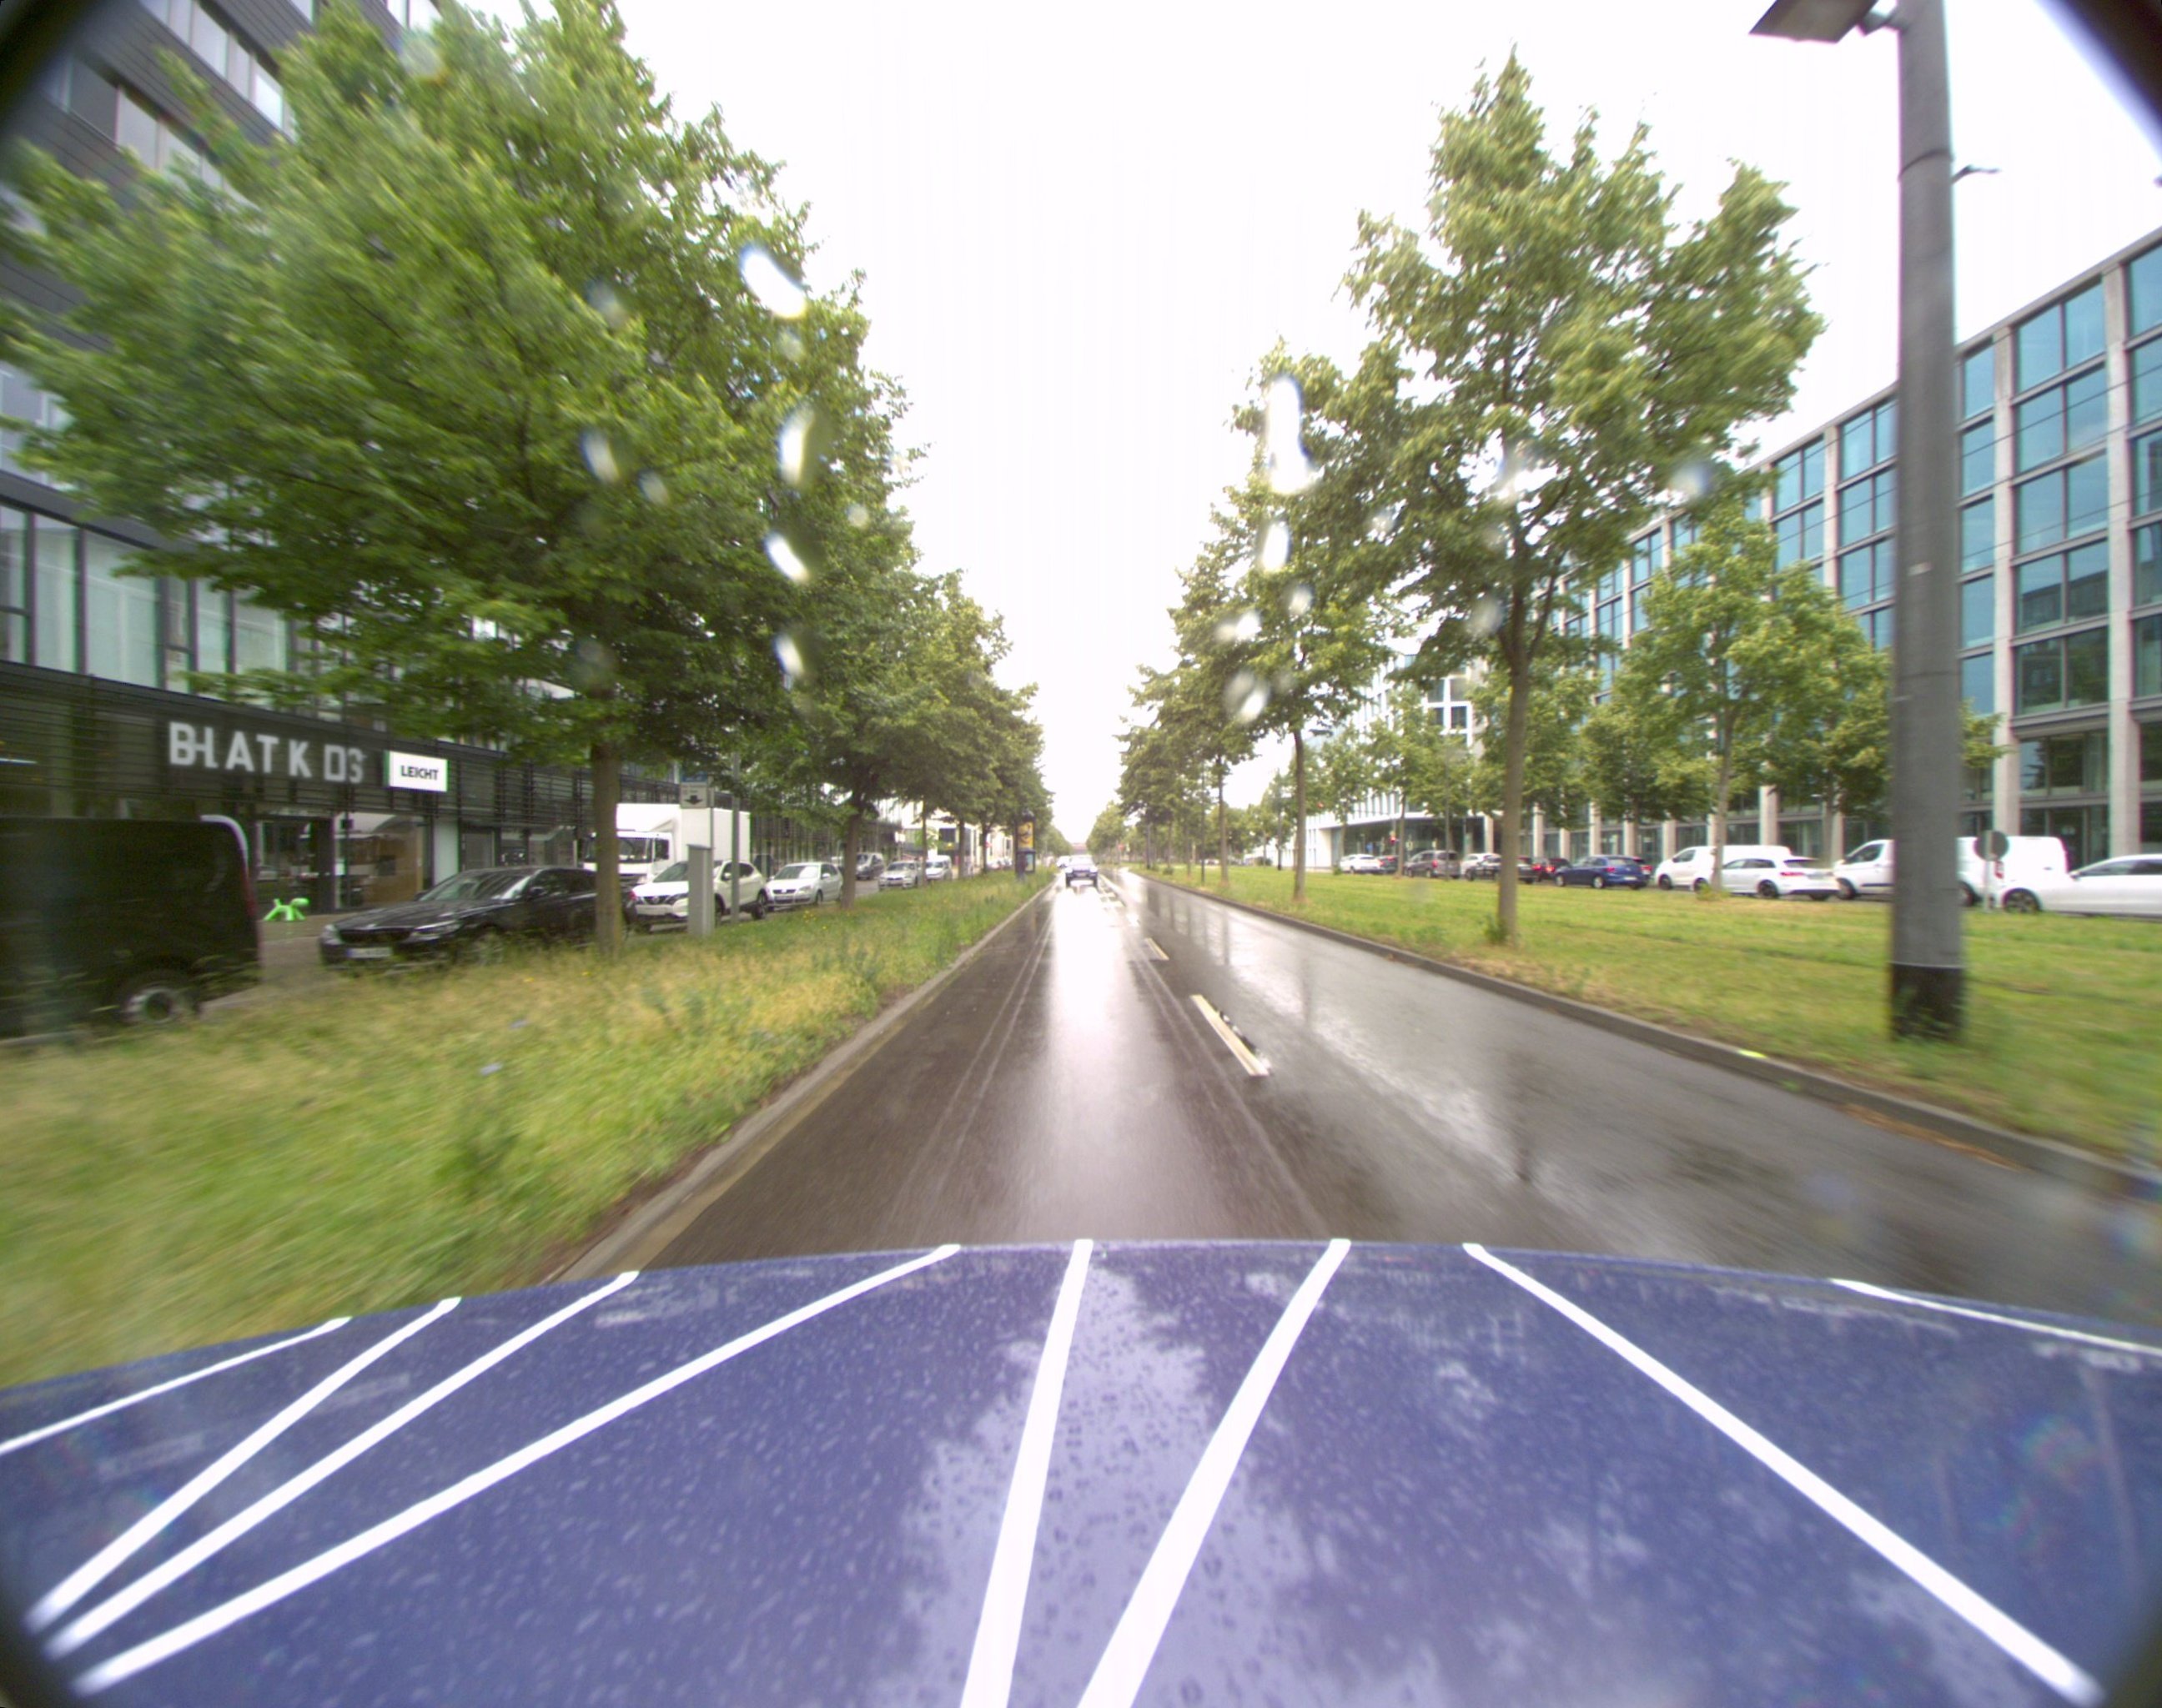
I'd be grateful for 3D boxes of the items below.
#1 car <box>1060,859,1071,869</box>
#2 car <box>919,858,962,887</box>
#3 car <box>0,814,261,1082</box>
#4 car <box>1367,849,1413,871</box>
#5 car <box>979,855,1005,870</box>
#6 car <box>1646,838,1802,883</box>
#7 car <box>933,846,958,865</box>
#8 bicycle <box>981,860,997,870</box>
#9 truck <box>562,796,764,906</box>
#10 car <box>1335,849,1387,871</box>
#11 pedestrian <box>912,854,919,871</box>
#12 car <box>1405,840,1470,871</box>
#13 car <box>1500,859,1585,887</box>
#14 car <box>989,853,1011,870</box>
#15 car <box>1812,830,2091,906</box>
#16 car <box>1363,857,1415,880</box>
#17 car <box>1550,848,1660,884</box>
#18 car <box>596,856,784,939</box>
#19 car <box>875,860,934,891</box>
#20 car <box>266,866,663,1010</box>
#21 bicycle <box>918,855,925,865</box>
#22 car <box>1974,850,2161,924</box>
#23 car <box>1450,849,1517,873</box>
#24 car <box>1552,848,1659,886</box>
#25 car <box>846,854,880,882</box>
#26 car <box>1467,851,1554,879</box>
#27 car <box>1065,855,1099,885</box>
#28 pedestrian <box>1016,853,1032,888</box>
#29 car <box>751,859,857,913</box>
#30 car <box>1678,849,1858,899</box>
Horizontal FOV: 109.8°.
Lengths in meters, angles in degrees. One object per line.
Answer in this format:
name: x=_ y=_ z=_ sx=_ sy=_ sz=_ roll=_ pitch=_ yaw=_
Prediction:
car: x=-2.410 y=1.554 z=118.888 sx=1.687 sy=1.520 sz=3.970 roll=-1 pitch=-2 yaw=-1
car: x=-8.346 y=1.133 z=45.343 sx=1.765 sy=1.586 sz=4.102 roll=-1 pitch=-2 yaw=1
car: x=-8.799 y=0.664 z=4.723 sx=1.999 sy=1.940 sz=5.030 roll=-1 pitch=-2 yaw=-1
car: x=25.720 y=0.468 z=63.400 sx=1.956 sy=1.684 sz=4.271 roll=-1 pitch=0 yaw=-1
car: x=-8.830 y=0.806 z=75.886 sx=1.998 sy=1.446 sz=4.959 roll=-1 pitch=0 yaw=1
car: x=25.878 y=0.328 z=30.884 sx=1.956 sy=1.641 sz=5.030 roll=-1 pitch=-2 yaw=-2
car: x=-13.724 y=0.217 z=77.276 sx=1.898 sy=1.855 sz=4.723 roll=-1 pitch=0 yaw=-3
bicycle: x=-8.257 y=0.977 z=67.999 sx=1.458 sy=0.911 sz=0.434 roll=-2 pitch=-2 yaw=32
truck: x=-15.025 y=-0.094 z=28.333 sx=3.033 sy=3.421 sz=8.545 roll=-1 pitch=0 yaw=-2
car: x=19.736 y=0.415 z=53.811 sx=1.956 sy=1.444 sz=4.575 roll=-1 pitch=0 yaw=0
pedestrian: x=-16.345 y=0.840 z=75.026 sx=0.627 sy=1.695 sz=0.657 roll=-1 pitch=-1 yaw=-5
car: x=22.742 y=0.140 z=48.690 sx=1.956 sy=1.837 sz=4.544 roll=-1 pitch=-1 yaw=0
car: x=25.887 y=1.084 z=42.839 sx=1.863 sy=1.437 sz=4.626 roll=-1 pitch=-2 yaw=-2
car: x=-8.703 y=0.799 z=82.103 sx=1.999 sy=1.697 sz=4.219 roll=-1 pitch=-2 yaw=-1
car: x=25.762 y=0.467 z=22.927 sx=2.273 sy=1.994 sz=5.375 roll=-1 pitch=-2 yaw=1
car: x=22.519 y=1.059 z=55.756 sx=1.956 sy=1.549 sz=4.464 roll=-1 pitch=-1 yaw=0
car: x=22.697 y=0.560 z=33.107 sx=1.956 sy=1.485 sz=3.963 roll=-1 pitch=-2 yaw=-2
car: x=-9.104 y=0.915 z=18.261 sx=1.999 sy=1.659 sz=4.723 roll=-3 pitch=0 yaw=0
car: x=-8.984 y=1.063 z=39.192 sx=1.999 sy=1.436 sz=5.235 roll=-1 pitch=0 yaw=-3
car: x=-8.867 y=1.059 z=11.723 sx=1.998 sy=1.659 sz=4.959 roll=-2 pitch=-1 yaw=0
bicycle: x=-15.744 y=0.613 z=75.063 sx=0.437 sy=0.892 sz=1.232 roll=-1 pitch=-2 yaw=-4
car: x=22.284 y=0.657 z=15.776 sx=1.955 sy=1.452 sz=4.834 roll=-1 pitch=-2 yaw=4
car: x=26.057 y=0.480 z=49.305 sx=1.956 sy=1.377 sz=4.273 roll=-1 pitch=-2 yaw=-2
car: x=25.675 y=0.703 z=37.435 sx=1.956 sy=1.735 sz=4.634 roll=-1 pitch=-2 yaw=-2
car: x=-15.360 y=0.947 z=53.782 sx=2.001 sy=1.909 sz=5.143 roll=-1 pitch=0 yaw=-13
car: x=22.671 y=0.640 z=40.368 sx=1.956 sy=1.377 sz=4.606 roll=-1 pitch=-2 yaw=0
car: x=0.104 y=0.910 z=45.170 sx=1.928 sy=1.651 sz=4.716 roll=0 pitch=0 yaw=1
pedestrian: x=-2.503 y=0.711 z=33.188 sx=0.643 sy=1.484 sz=0.700 roll=-1 pitch=1 yaw=-2
car: x=-8.795 y=1.035 z=24.581 sx=1.774 sy=1.443 sz=4.724 roll=-4 pitch=-2 yaw=-2
car: x=22.858 y=0.611 z=25.578 sx=1.956 sy=1.504 sz=4.575 roll=-1 pitch=0 yaw=0
